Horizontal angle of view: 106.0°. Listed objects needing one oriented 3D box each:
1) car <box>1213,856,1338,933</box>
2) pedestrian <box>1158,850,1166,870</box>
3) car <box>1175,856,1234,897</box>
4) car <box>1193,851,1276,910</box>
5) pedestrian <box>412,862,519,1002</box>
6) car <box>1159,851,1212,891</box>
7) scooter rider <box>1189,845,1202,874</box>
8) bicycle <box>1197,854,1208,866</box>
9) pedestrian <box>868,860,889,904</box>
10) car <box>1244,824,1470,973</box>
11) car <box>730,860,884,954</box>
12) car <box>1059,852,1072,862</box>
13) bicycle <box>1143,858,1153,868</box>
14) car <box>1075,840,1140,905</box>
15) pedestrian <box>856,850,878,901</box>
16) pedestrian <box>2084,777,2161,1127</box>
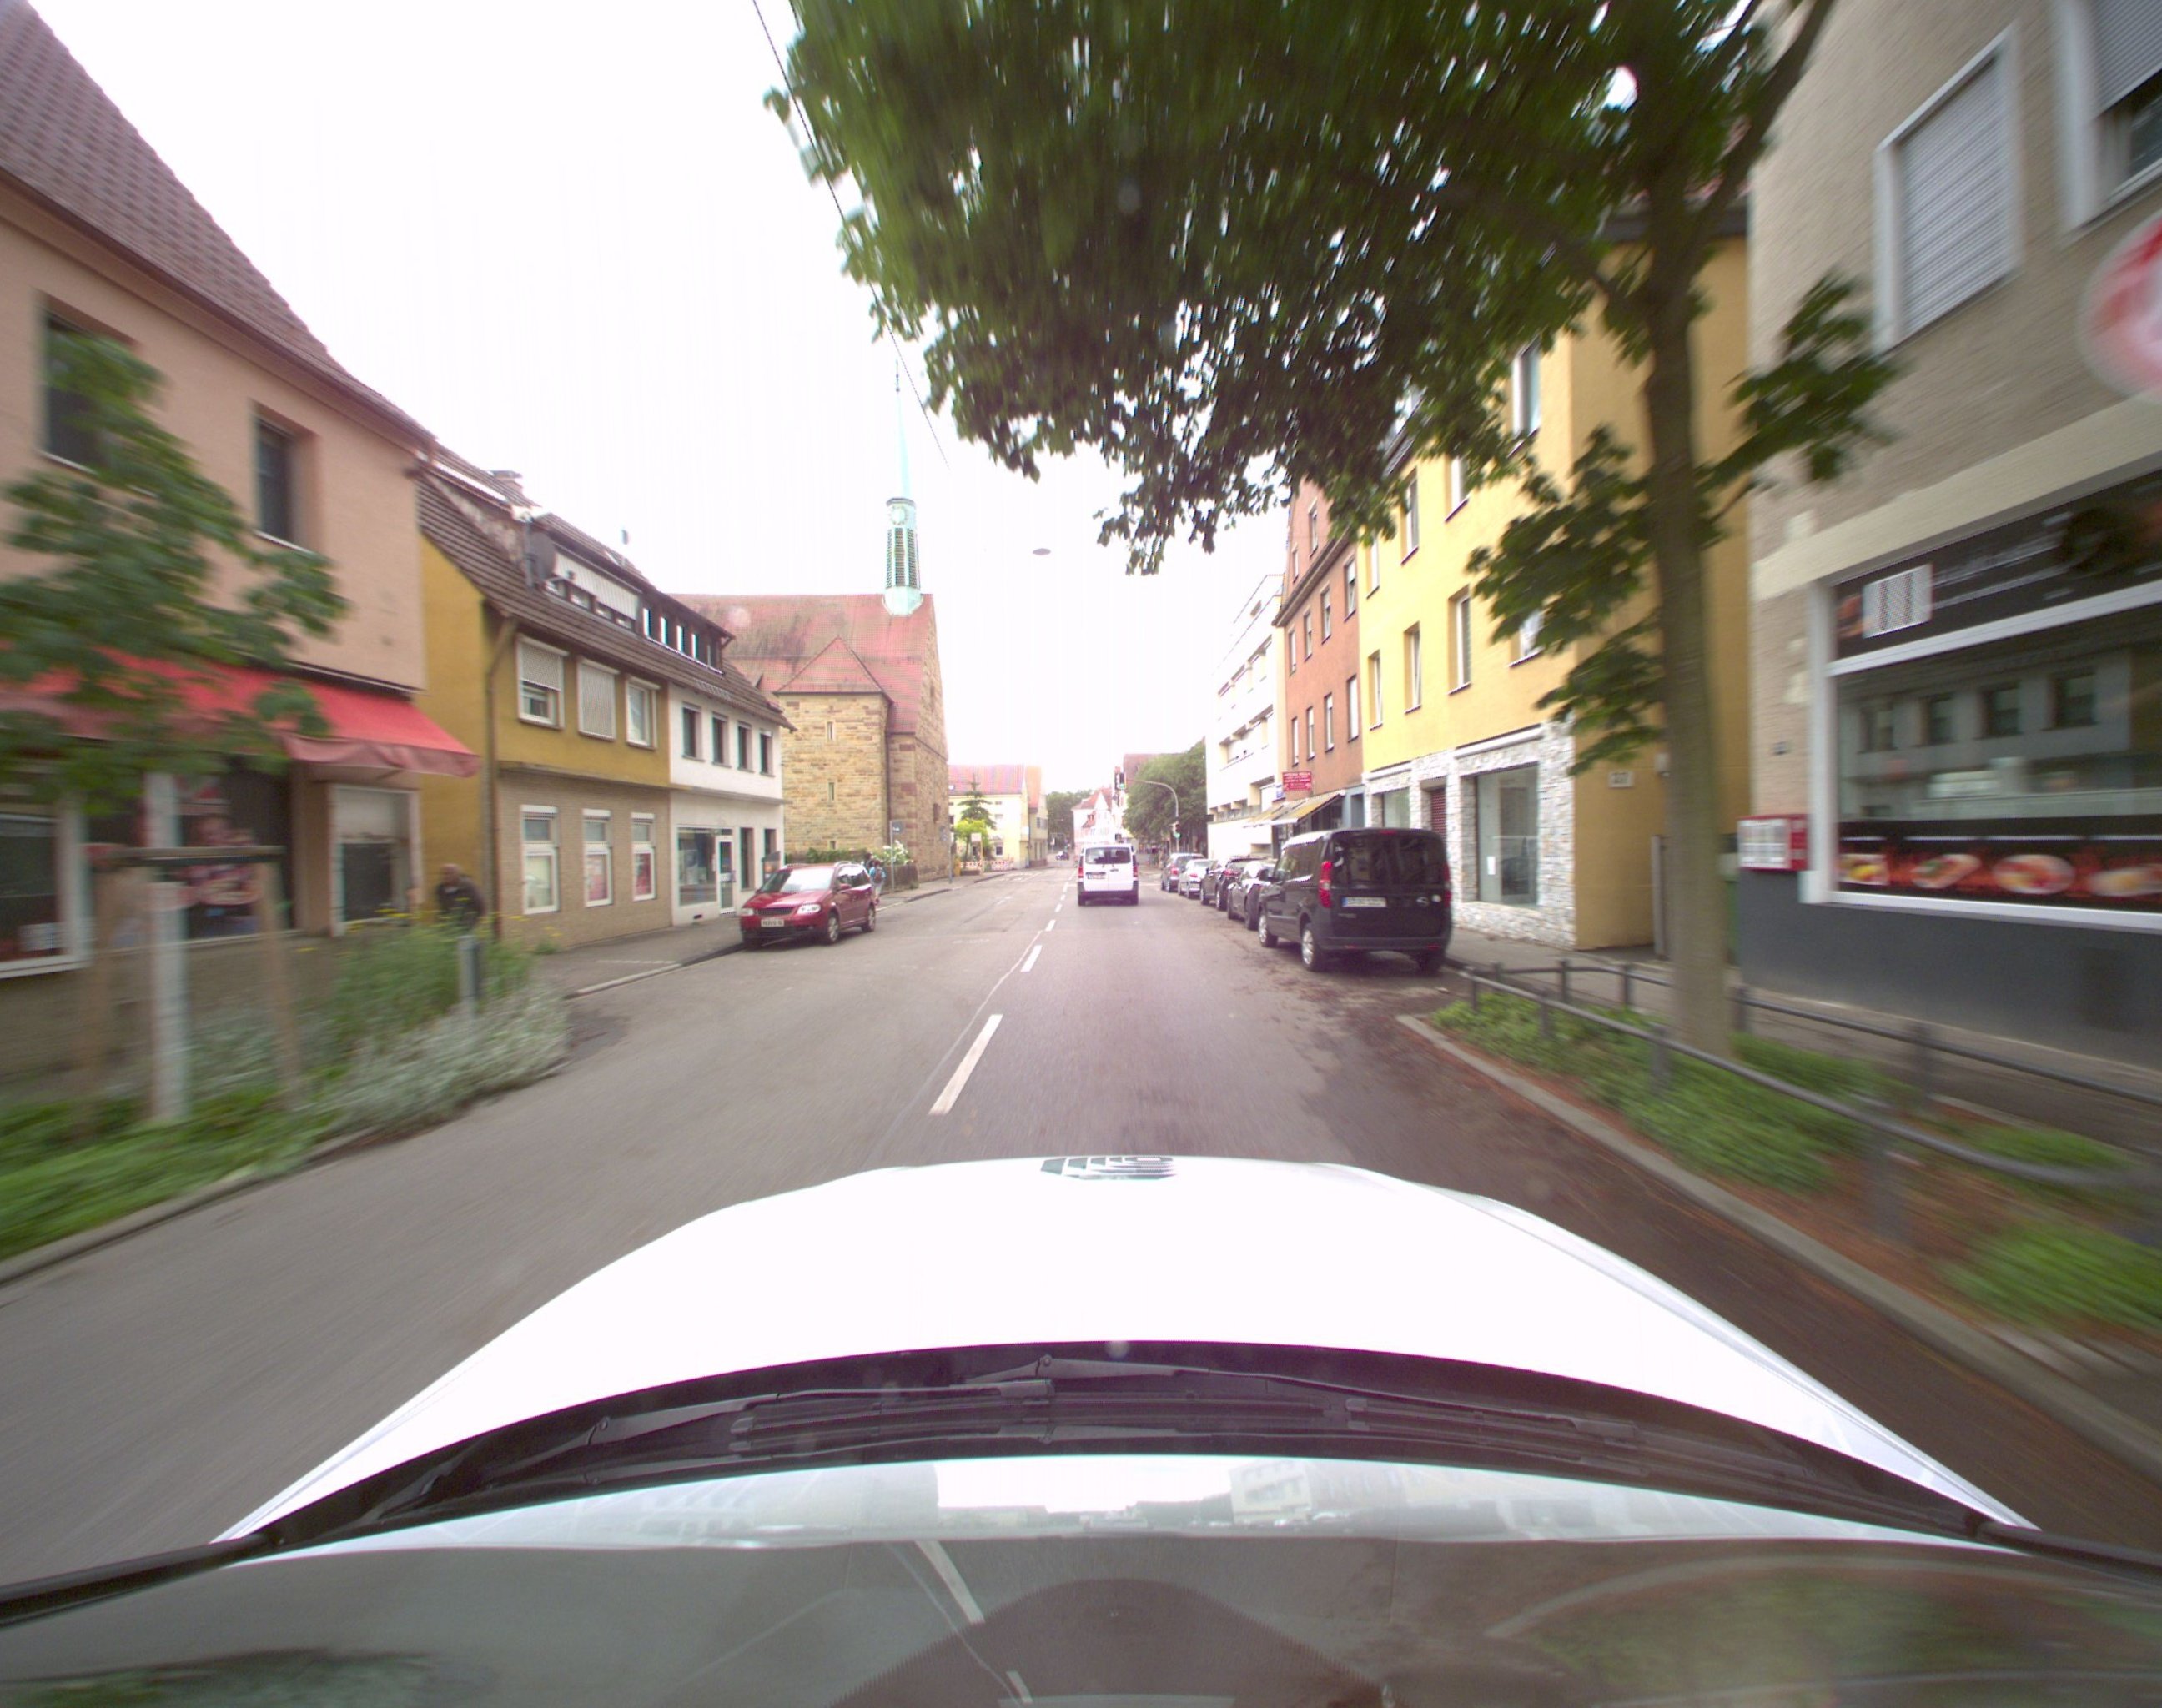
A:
[{"bbox_3d":[4.102,0.780,17.880,1.744,1.406,4.513,-2,0,2],"label":"car"},{"bbox_3d":[6.999,0.516,70.542,0.599,1.715,0.861,-1,0,8],"label":"pedestrian"},{"bbox_3d":[4.391,0.776,29.453,1.546,1.333,3.812,-1,0,0],"label":"car"},{"bbox_3d":[4.421,0.712,23.974,1.597,1.518,4.208,-2,0,0],"label":"car"},{"bbox_3d":[-7.602,0.935,10.096,0.729,1.628,0.757,-1,0,-5],"label":"pedestrian"},{"bbox_3d":[4.292,0.666,34.030,1.706,1.560,3.785,-1,0,0],"label":"car"},{"bbox_3d":[6.541,0.320,46.399,0.453,1.631,0.502,-4,-2,-14],"label":"scooter rider"},{"bbox_3d":[11.048,0.529,74.151,0.543,1.069,2.288,-2,0,-4],"label":"bicycle"},{"bbox_3d":[-7.293,1.010,29.385,0.569,1.554,0.697,0,0,1],"label":"pedestrian"},{"bbox_3d":[3.809,0.539,12.115,1.814,1.781,4.402,-1,0,-1],"label":"car"},{"bbox_3d":[-5.694,1.012,17.558,1.697,1.574,4.451,-3,1,0],"label":"car"},{"bbox_3d":[-3.414,0.687,175.033,1.938,2.013,3.980,0,0,-15],"label":"car"},{"bbox_3d":[7.856,1.081,95.501,0.501,1.106,1.627,-2,0,-20],"label":"bicycle"},{"bbox_3d":[0.852,0.561,26.199,1.865,1.912,4.001,-1,0,2],"label":"car"},{"bbox_3d":[-7.920,0.791,30.153,0.569,1.848,0.697,2,0,1],"label":"pedestrian"},{"bbox_3d":[5.388,0.456,3.624,0.612,1.652,0.983,-2,0,0],"label":"pedestrian"}]
